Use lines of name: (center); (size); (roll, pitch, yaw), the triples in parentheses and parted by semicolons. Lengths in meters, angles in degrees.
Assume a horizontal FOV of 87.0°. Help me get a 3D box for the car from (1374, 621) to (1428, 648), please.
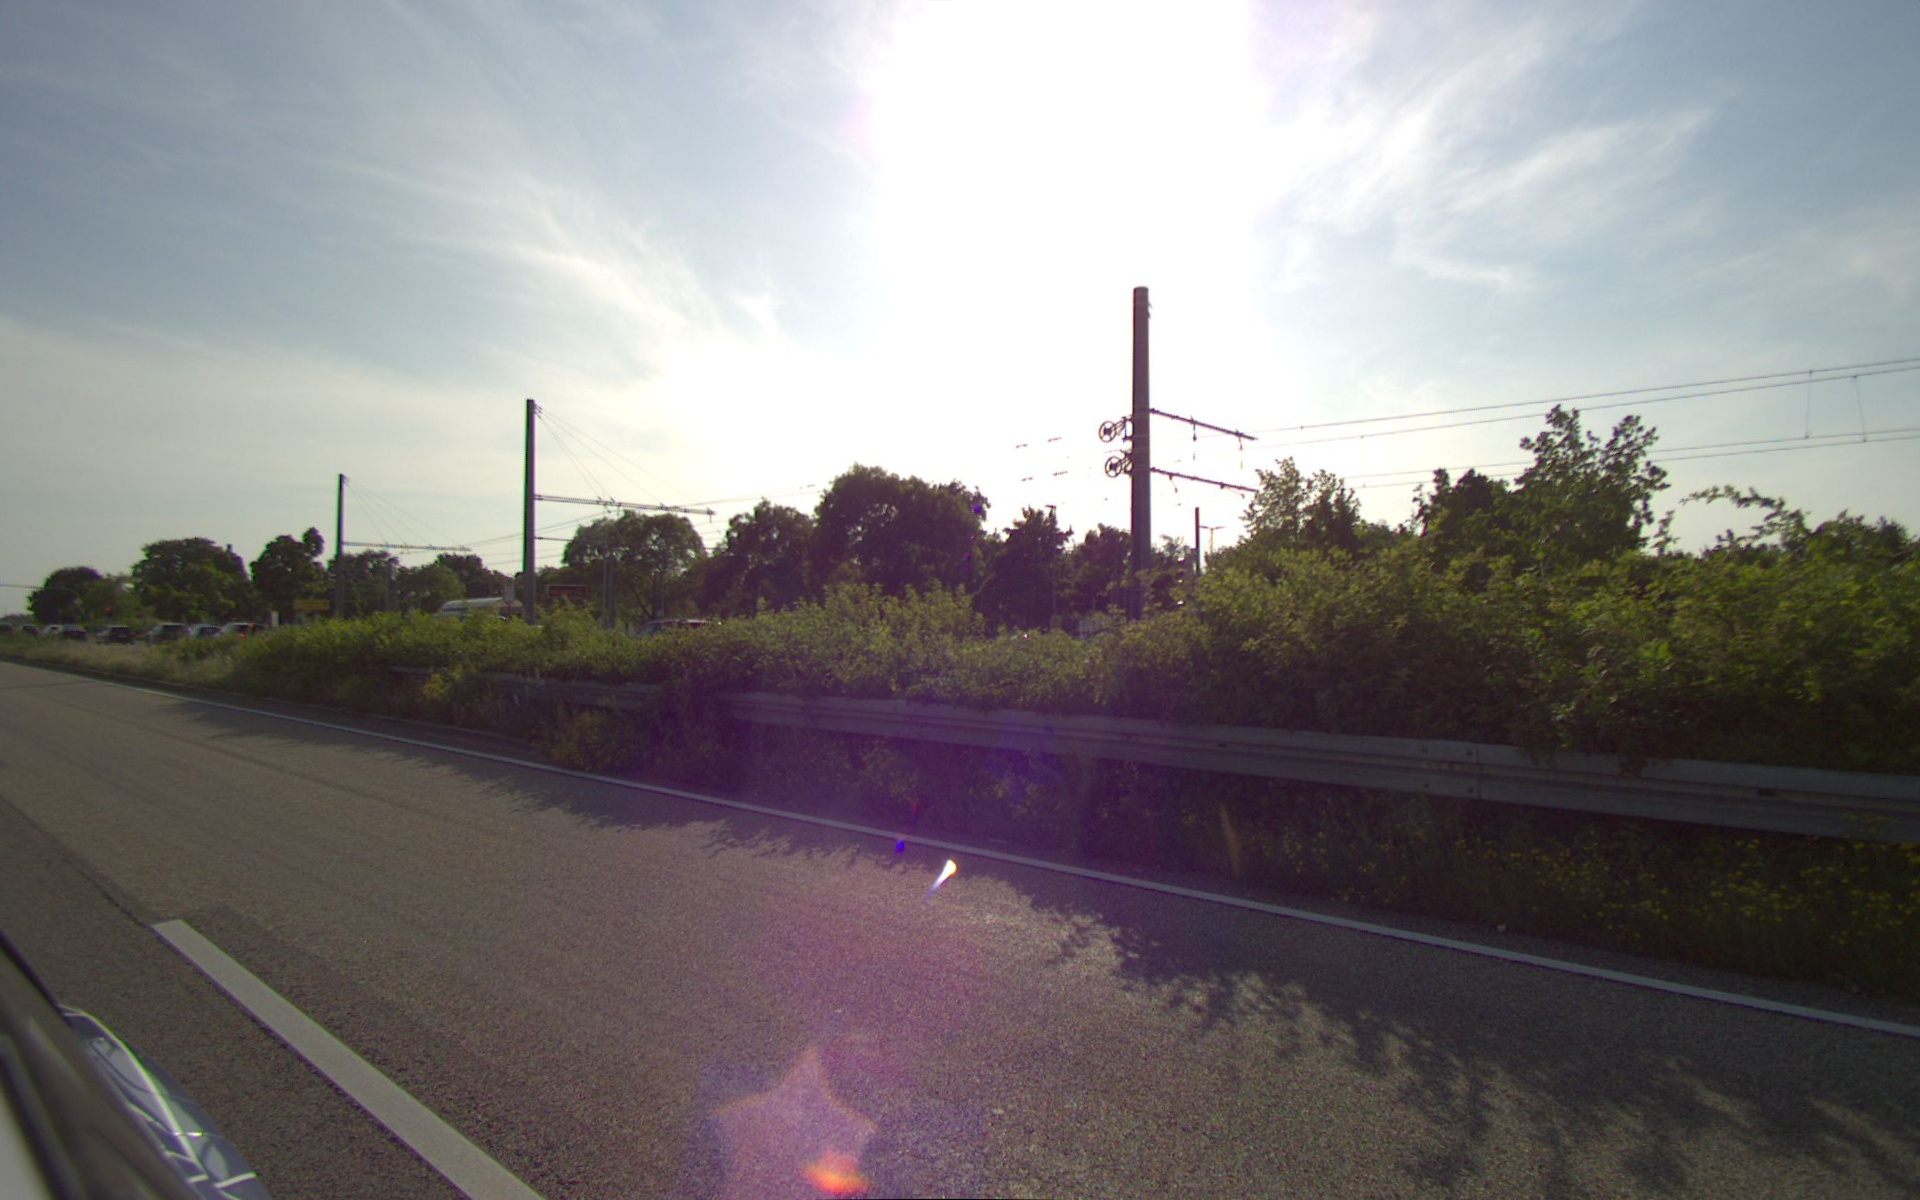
car: (30.795, 2.391, 70.741); (3.064, 1.809, 1.573); (-1, 0, -10)

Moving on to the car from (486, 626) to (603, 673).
car: (-13.499, 1.580, 32.796); (4.445, 1.442, 1.643); (-1, -4, 41)

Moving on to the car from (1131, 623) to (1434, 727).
car: (5.030, 1.130, 16.159); (4.323, 1.442, 1.643); (-1, -4, 41)

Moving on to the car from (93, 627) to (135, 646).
car: (-62.473, 2.684, 74.697); (4.538, 1.391, 1.643); (-1, -4, 41)

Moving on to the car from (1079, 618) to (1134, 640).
car: (10.570, 2.101, 73.200); (3.562, 1.377, 1.739); (2, -4, -12)

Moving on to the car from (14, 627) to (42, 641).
car: (-99.060, 3.624, 107.576); (3.997, 1.391, 1.643); (-1, -4, 41)

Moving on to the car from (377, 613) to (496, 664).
car: (-18.688, 1.374, 36.008); (5.250, 1.696, 1.895); (-1, -4, 41)

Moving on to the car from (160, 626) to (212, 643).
car: (-97.754, 4.326, 127.877); (2.249, 1.901, 4.788); (-1, 0, 35)

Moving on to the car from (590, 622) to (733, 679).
car: (-8.205, 1.355, 27.651); (4.323, 1.442, 1.643); (-1, -4, 41)

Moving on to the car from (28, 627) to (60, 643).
car: (-86.532, 3.289, 95.556); (4.465, 1.391, 1.643); (-1, -4, 41)

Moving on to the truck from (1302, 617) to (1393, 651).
truck: (28.032, 2.470, 73.300); (5.890, 2.265, 2.004); (-1, 0, -10)

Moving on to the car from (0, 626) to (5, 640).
car: (-114.513, 3.895, 119.761); (3.997, 1.602, 1.778); (-1, -4, 41)

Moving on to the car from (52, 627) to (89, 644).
car: (-76.383, 3.035, 86.853); (4.972, 1.426, 1.643); (-1, -4, 41)

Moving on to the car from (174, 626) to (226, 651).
car: (-44.753, 2.256, 59.578); (3.802, 1.442, 1.643); (-1, -4, 41)

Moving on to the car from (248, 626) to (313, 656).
car: (-33.517, 2.017, 49.867); (3.802, 1.442, 1.643); (-1, -4, 41)

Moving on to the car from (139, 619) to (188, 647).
car: (-51.669, 2.155, 65.663); (4.226, 1.700, 1.643); (-1, -4, 41)

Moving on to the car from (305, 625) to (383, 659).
car: (-28.088, 1.911, 46.095); (4.714, 1.442, 1.643); (-1, -4, 41)

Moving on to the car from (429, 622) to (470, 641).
car: (-55.895, 3.415, 110.829); (1.822, 1.892, 3.648); (-1, 0, 22)

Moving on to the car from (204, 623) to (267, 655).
car: (-38.395, 2.064, 53.586); (4.543, 1.574, 1.643); (-1, -4, 41)

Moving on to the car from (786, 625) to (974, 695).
car: (-1.860, 1.305, 22.792); (4.323, 1.442, 1.643); (-1, -4, 41)
